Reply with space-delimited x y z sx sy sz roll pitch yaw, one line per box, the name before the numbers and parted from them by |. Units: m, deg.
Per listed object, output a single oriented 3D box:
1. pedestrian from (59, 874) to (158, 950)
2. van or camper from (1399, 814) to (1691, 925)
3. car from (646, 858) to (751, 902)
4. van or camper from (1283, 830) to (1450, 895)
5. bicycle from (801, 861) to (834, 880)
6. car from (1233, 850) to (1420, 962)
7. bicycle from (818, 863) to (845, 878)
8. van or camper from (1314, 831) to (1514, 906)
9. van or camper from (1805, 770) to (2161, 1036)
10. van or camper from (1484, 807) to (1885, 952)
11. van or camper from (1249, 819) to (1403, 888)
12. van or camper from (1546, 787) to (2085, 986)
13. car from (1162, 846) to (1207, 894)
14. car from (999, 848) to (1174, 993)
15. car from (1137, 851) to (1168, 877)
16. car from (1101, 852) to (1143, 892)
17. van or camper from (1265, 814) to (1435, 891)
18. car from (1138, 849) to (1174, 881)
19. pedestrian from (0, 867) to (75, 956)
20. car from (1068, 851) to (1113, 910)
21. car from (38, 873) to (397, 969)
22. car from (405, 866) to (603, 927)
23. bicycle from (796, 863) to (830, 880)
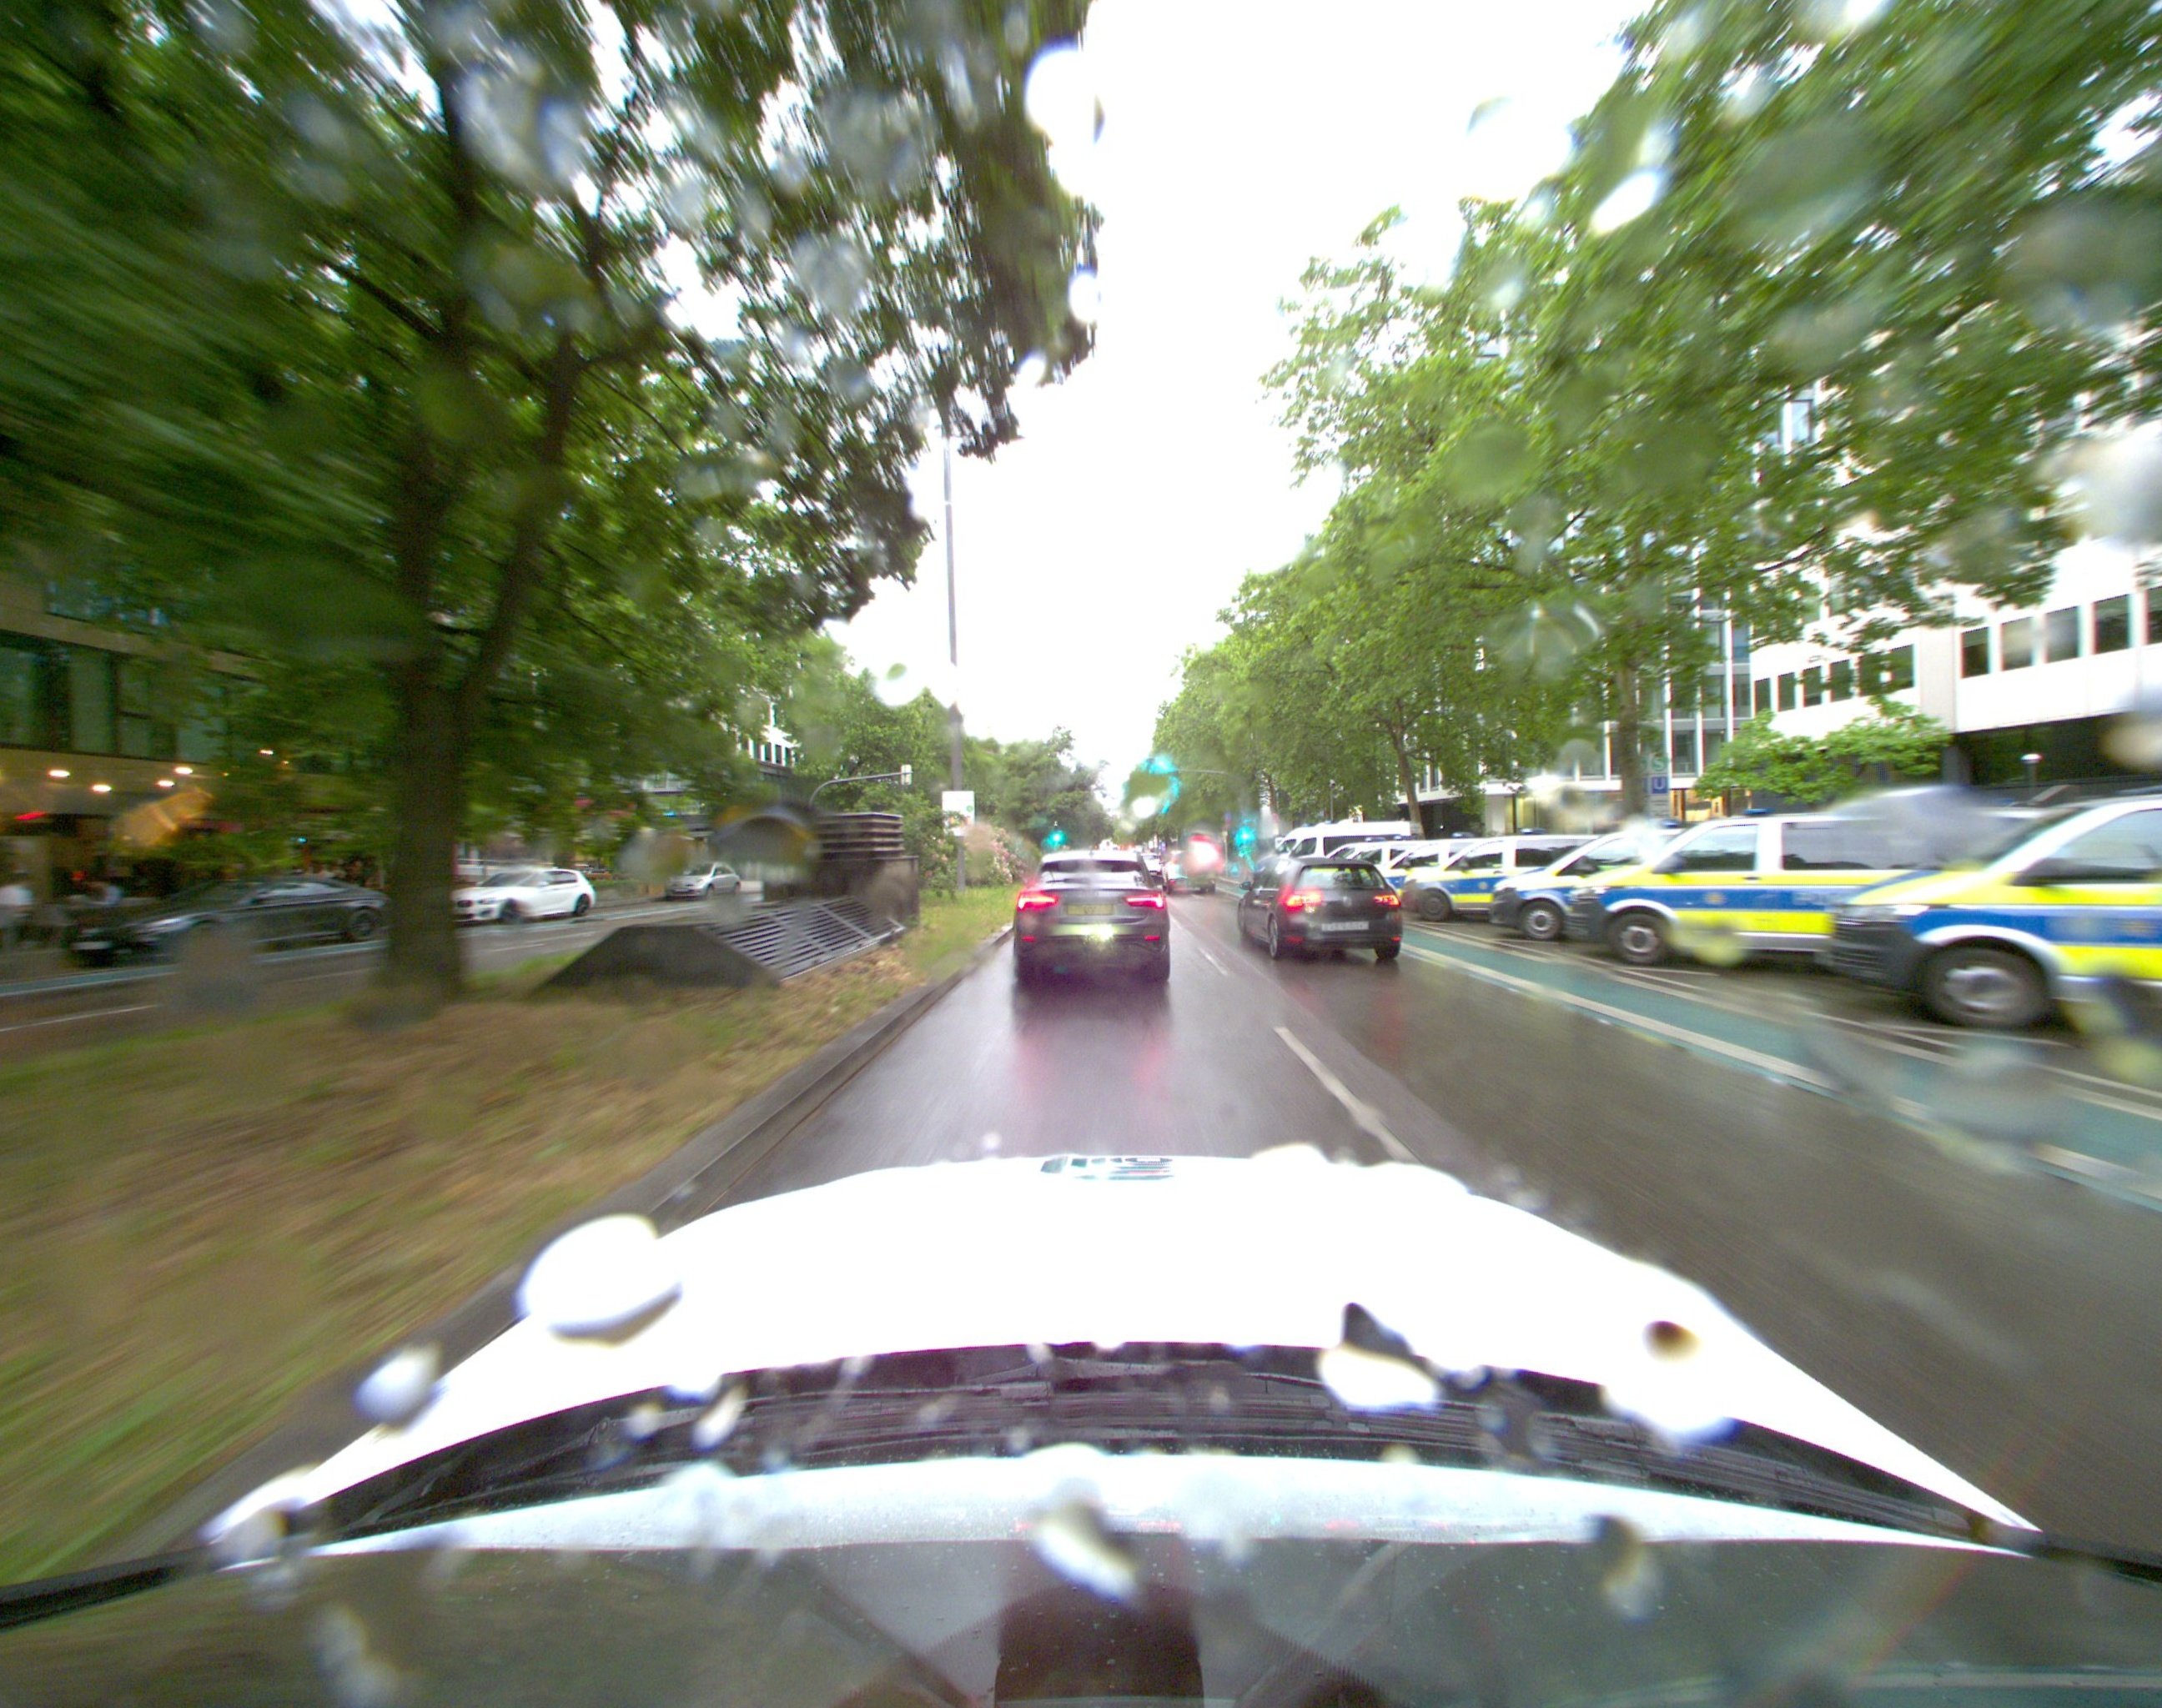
pedestrian | -18.693 1.090 15.680 0.761 1.380 0.933 -1 0 -1
van or camper | 9.669 0.303 17.219 5.042 2.025 2.119 -1 0 39
car | -15.162 0.987 32.593 1.987 1.509 4.517 -2 0 0
van or camper | 9.674 0.324 27.772 4.952 2.014 2.013 -2 -1 37
bicycle | -16.462 1.039 50.964 1.842 1.098 0.613 -1 0 -6
car | 3.592 0.669 12.669 1.759 1.413 4.001 -2 0 1
bicycle | -16.293 1.078 53.150 1.615 0.962 0.508 -1 0 -6
van or camper | 9.751 0.407 24.058 5.142 1.992 2.013 0 -1 36
van or camper | 9.097 0.354 6.529 4.792 1.998 1.880 -1 0 38
van or camper | 9.568 0.385 13.445 4.959 1.995 2.013 -1 0 34
van or camper | 10.140 -0.004 34.049 5.741 2.677 2.161 -1 0 39
van or camper | 8.866 0.358 10.475 4.733 2.011 2.013 -1 0 38
car | 3.903 0.578 31.059 1.427 1.685 2.981 -2 0 2
car | 0.185 0.704 11.018 1.855 1.532 4.530 -1 0 3
car | 5.158 0.714 58.958 1.986 1.750 4.002 -2 0 2
car | 1.774 0.748 36.069 1.715 1.577 3.963 -1 0 2
van or camper | 10.108 -0.007 30.901 5.736 2.680 2.013 -1 0 37
car | 4.248 0.593 46.630 1.815 1.750 4.002 -2 0 2
pedestrian | -18.631 0.991 14.250 0.827 1.488 0.973 -1 0 -1
car | 0.278 0.651 21.382 1.046 1.387 2.695 -2 0 2
car | -15.689 1.122 15.263 1.818 1.394 4.486 -1 0 2
car | -15.366 1.065 22.063 1.986 1.370 4.542 1 0 2
bicycle | -16.484 1.068 50.081 1.839 0.979 0.566 -1 0 -2
